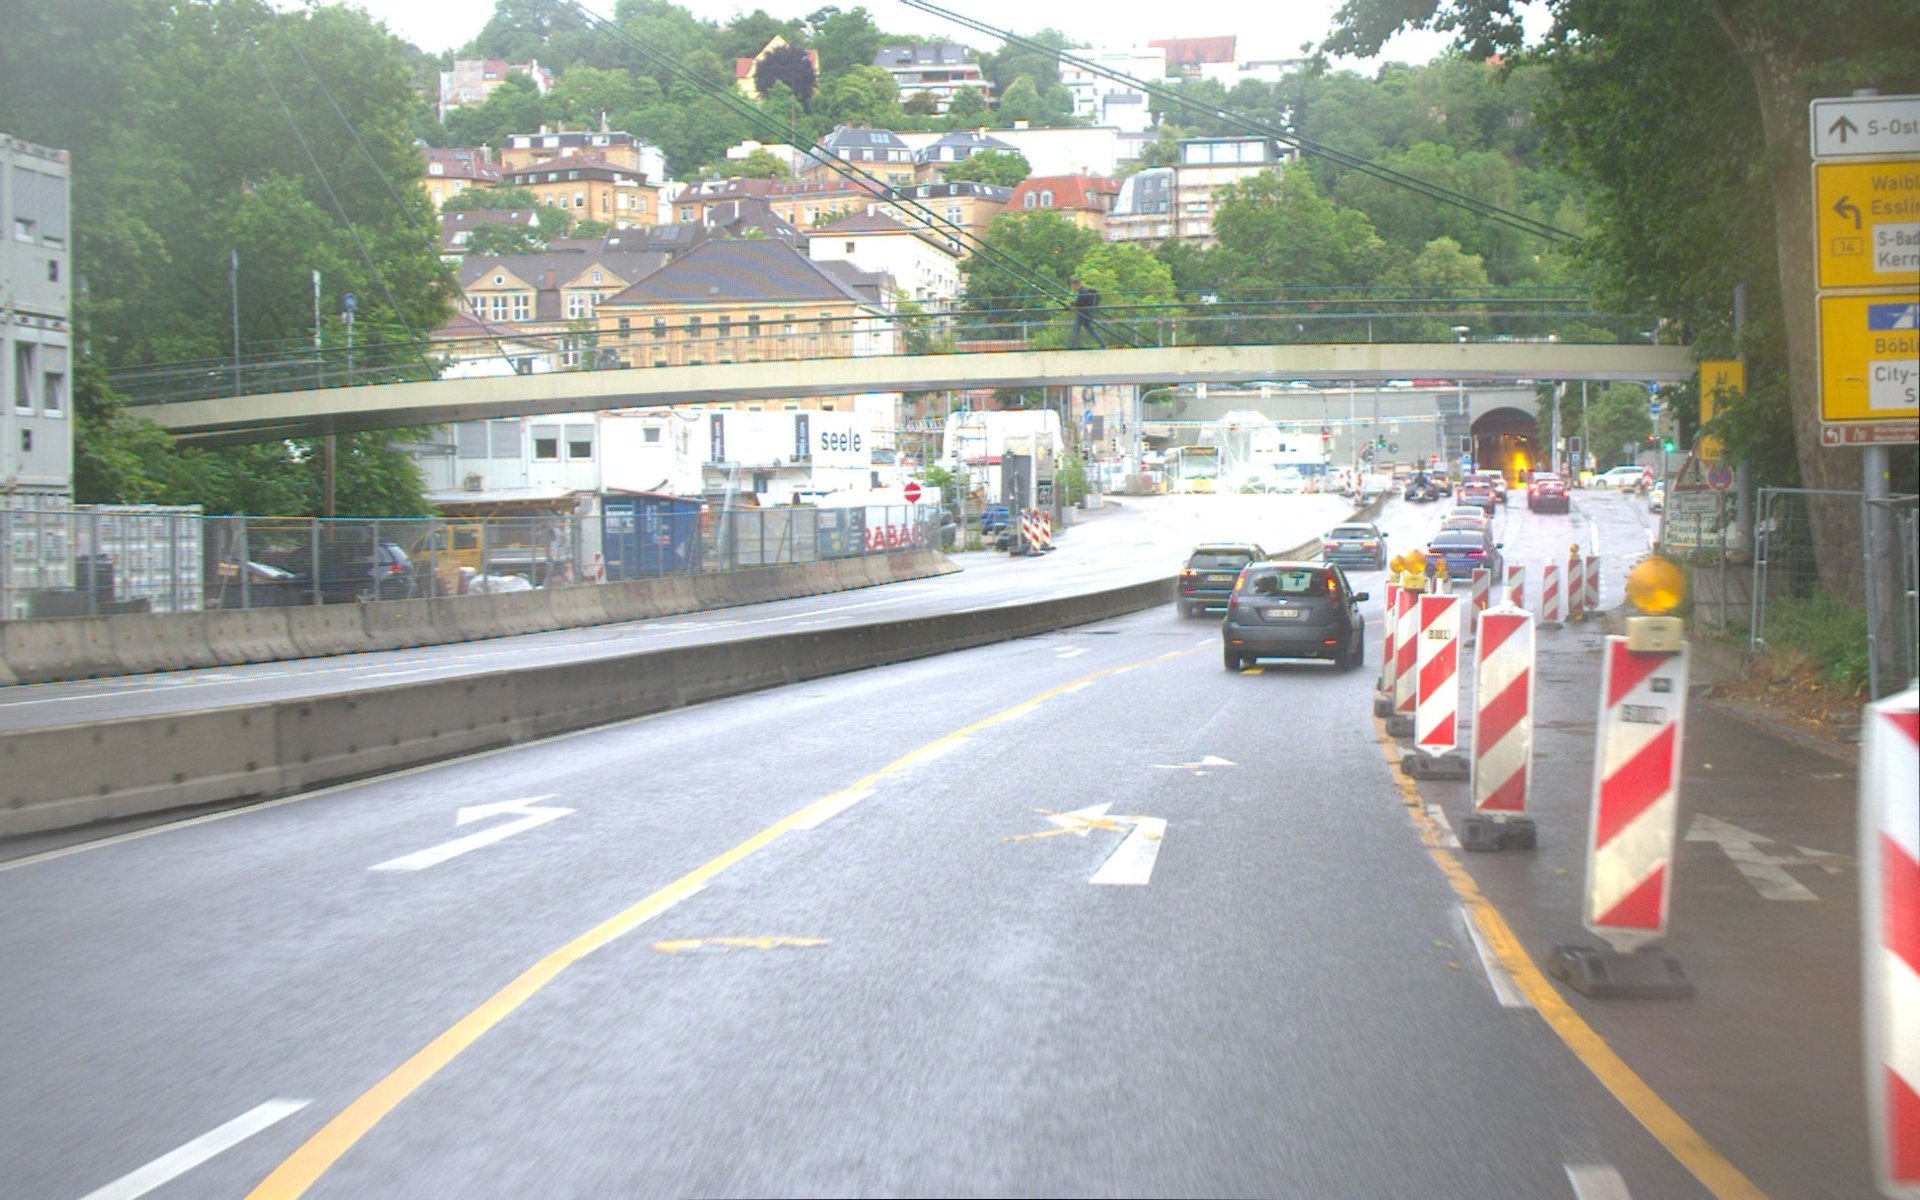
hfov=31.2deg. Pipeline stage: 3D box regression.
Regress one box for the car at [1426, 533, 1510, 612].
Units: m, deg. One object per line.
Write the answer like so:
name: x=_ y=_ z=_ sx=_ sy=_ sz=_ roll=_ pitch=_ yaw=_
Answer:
car: x=13.634 y=-0.743 z=92.123 sx=2.105 sy=2.043 sz=3.999 roll=-1 pitch=0 yaw=9

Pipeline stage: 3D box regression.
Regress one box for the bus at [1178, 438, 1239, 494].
bus: x=14.880 y=-7.967 z=205.510 sx=2.807 sy=3.173 sz=8.805 roll=-1 pitch=1 yaw=9

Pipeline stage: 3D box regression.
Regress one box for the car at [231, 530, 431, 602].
car: x=-15.188 y=-0.831 z=83.193 sx=4.423 sy=1.622 sz=1.959 roll=-1 pitch=1 yaw=1

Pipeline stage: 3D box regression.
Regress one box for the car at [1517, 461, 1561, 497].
car: x=29.164 y=-6.094 z=173.376 sx=1.994 sy=1.693 sz=3.999 roll=-1 pitch=0 yaw=7

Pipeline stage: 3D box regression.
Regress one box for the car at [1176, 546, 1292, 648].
car: x=5.680 y=-0.090 z=70.835 sx=2.017 sy=2.007 sz=3.999 roll=-1 pitch=0 yaw=9

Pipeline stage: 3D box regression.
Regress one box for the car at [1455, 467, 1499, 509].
car: x=24.651 y=-5.316 z=163.964 sx=1.994 sy=1.863 sz=3.999 roll=-1 pitch=0 yaw=8

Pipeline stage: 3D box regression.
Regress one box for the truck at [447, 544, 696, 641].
truck: x=-10.444 y=-0.213 z=92.818 sx=6.277 sy=2.444 sz=2.694 roll=-1 pitch=0 yaw=3

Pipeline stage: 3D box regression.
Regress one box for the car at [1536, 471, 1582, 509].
car: x=29.090 y=-5.332 z=167.126 sx=1.994 sy=1.693 sz=3.999 roll=-1 pitch=0 yaw=7

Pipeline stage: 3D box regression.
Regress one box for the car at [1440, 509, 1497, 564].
car: x=19.149 y=-2.383 z=129.633 sx=2.052 sy=2.007 sz=3.999 roll=-1 pitch=0 yaw=8

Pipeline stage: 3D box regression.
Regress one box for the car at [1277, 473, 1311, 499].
car: x=20.602 y=-7.036 z=211.970 sx=1.710 sy=1.484 sz=3.449 roll=-1 pitch=0 yaw=11

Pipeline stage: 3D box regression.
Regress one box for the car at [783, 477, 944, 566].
car: x=-3.172 y=-2.612 z=114.660 sx=1.998 sy=2.865 sz=6.040 roll=-1 pitch=1 yaw=36

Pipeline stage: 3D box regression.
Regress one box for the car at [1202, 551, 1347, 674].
car: x=4.190 y=0.135 z=46.090 sx=1.812 sy=1.521 sz=3.999 roll=-2 pitch=1 yaw=4

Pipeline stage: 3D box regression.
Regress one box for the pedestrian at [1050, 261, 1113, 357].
pedestrian: x=2.743 y=-6.562 z=77.702 sx=1.149 sy=2.053 sz=1.058 roll=-1 pitch=0 yaw=17

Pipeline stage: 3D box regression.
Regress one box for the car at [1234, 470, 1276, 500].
car: x=16.717 y=-6.520 z=194.527 sx=2.082 sy=1.625 sz=4.852 roll=-1 pitch=2 yaw=8

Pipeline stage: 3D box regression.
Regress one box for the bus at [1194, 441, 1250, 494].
bus: x=16.374 y=-8.227 z=214.573 sx=2.704 sy=3.140 sz=9.147 roll=-1 pitch=2 yaw=9

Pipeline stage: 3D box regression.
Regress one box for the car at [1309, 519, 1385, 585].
car: x=12.214 y=-1.506 z=108.351 sx=1.994 sy=2.007 sz=3.998 roll=-1 pitch=0 yaw=12

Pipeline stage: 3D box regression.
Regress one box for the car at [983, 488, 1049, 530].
car: x=2.384 y=-3.862 z=145.554 sx=1.995 sy=1.616 sz=3.998 roll=0 pitch=3 yaw=13

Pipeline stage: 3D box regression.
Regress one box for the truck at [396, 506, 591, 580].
truck: x=-13.673 y=-1.683 z=100.934 sx=5.248 sy=2.007 sz=2.163 roll=-1 pitch=1 yaw=5
